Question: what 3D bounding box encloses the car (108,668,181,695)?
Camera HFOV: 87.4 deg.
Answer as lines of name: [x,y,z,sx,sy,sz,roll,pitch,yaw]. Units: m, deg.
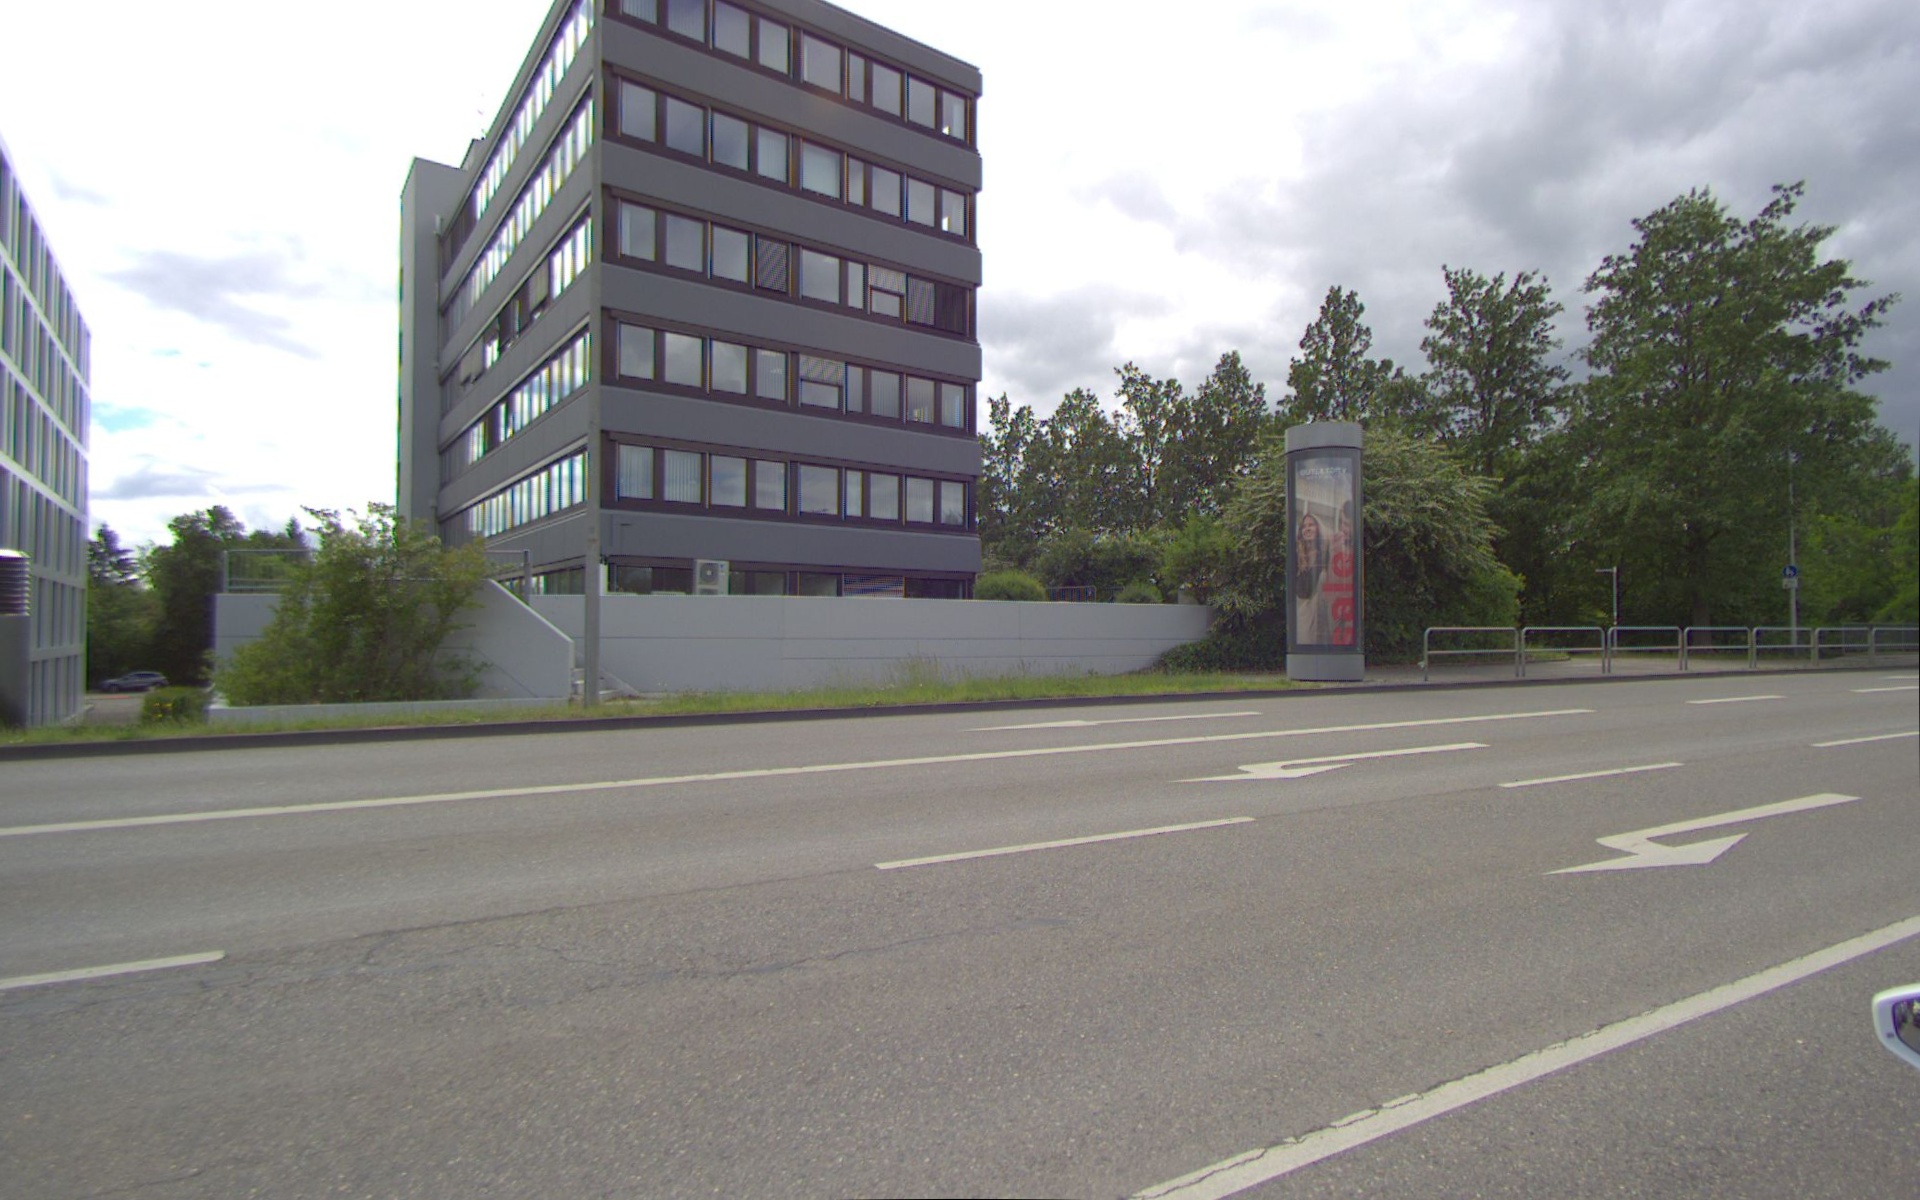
car: [-65.152,6.498,80.337,4.519,1.859,1.844,1,0,-39]
